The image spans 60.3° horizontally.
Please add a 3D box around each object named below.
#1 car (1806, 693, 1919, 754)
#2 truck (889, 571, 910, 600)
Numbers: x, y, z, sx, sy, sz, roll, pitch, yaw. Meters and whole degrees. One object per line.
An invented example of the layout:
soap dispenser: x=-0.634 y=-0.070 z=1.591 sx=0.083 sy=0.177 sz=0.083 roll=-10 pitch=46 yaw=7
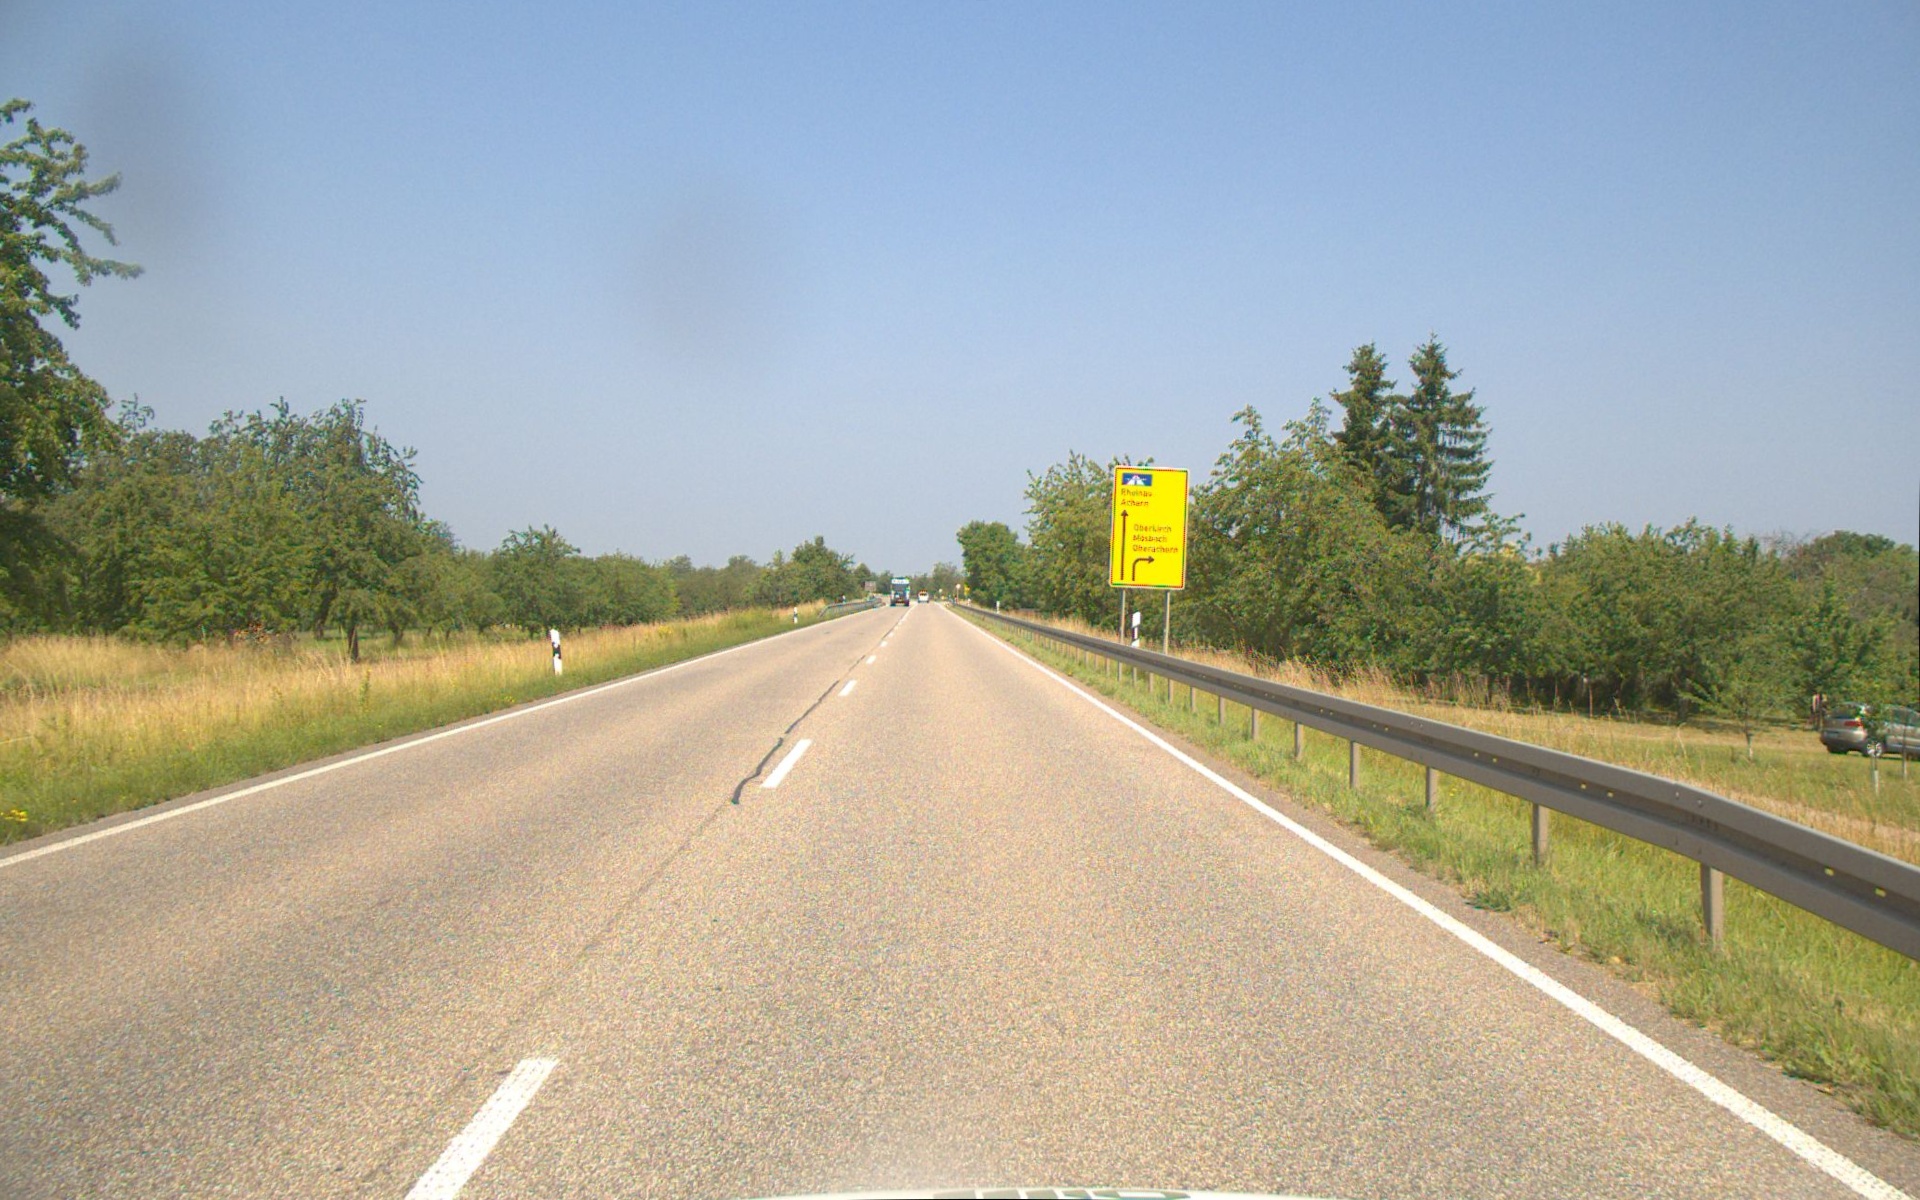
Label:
car: x=28.251 y=3.796 z=50.476 sx=4.005 sy=1.561 sz=1.852 roll=5 pitch=-1 yaw=-10
truck: x=-7.945 y=-1.858 z=218.950 sx=2.673 sy=3.736 sz=9.380 roll=1 pitch=0 yaw=-2
